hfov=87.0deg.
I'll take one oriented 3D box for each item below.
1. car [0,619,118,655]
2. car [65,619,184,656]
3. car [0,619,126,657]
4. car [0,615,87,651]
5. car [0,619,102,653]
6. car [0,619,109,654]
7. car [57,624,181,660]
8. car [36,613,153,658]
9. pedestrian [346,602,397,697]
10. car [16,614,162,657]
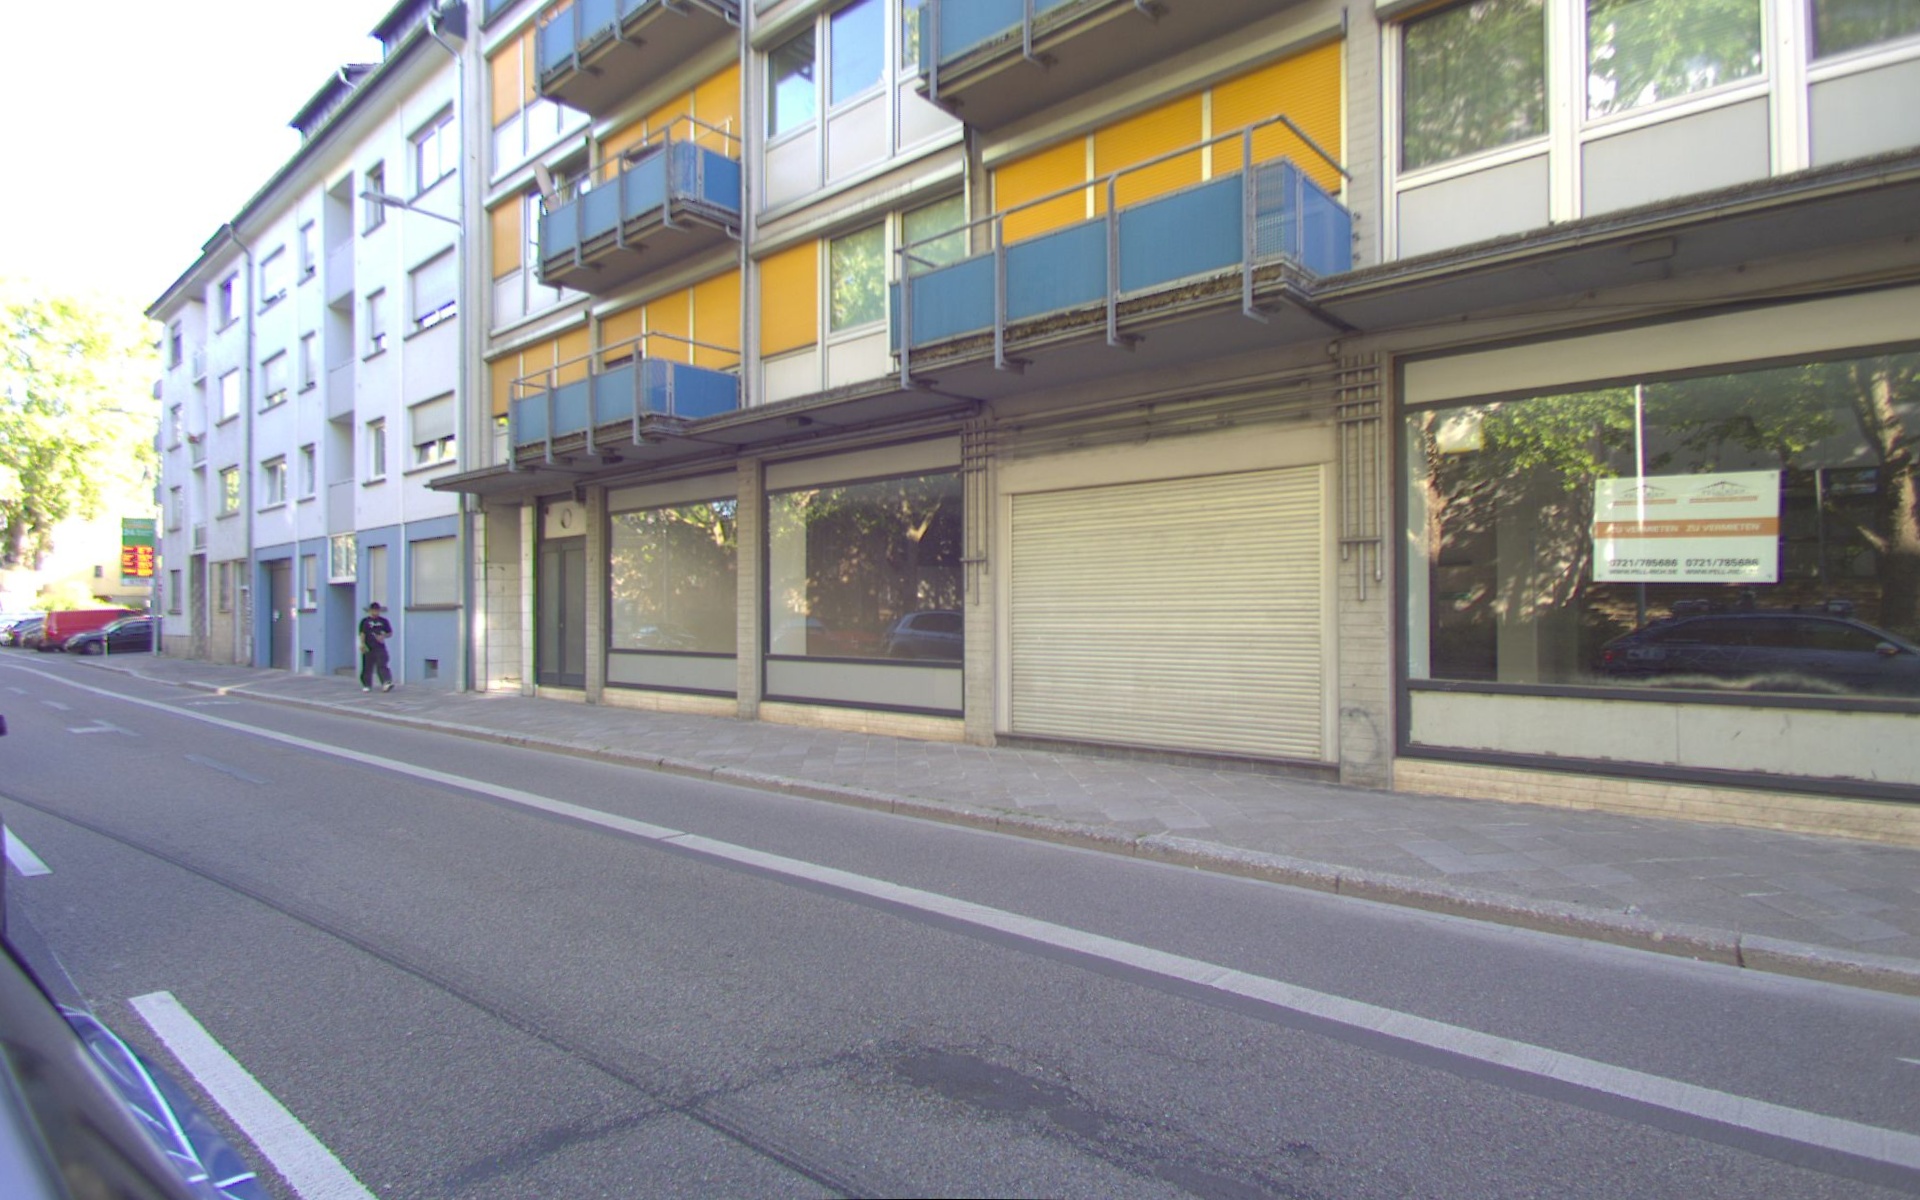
[{"bbox_3d":[-52.245,2.107,58.719,2.159,1.952,4.990,-1,-1,41],"label":"car"},{"bbox_3d":[-37.884,1.676,45.944,1.742,1.572,3.946,-1,-1,41],"label":"car"},{"bbox_3d":[-50.306,2.084,56.831,2.186,1.952,5.077,-1,-1,41],"label":"car"},{"bbox_3d":[-59.353,2.095,64.713,2.186,2.164,5.077,-1,-1,41],"label":"car"},{"bbox_3d":[-55.979,2.156,61.987,2.314,1.952,4.978,-1,-1,41],"label":"car"},{"bbox_3d":[-54.131,2.128,60.356,2.082,1.952,4.928,-1,-1,41],"label":"car"},{"bbox_3d":[-36.559,1.786,44.079,1.742,1.431,3.946,-1,-1,41],"label":"car"},{"bbox_3d":[-40.597,1.632,47.518,1.866,1.952,3.946,-1,-1,41],"label":"car"},{"bbox_3d":[-11.350,0.936,19.528,0.793,1.785,0.654,-2,-1,45],"label":"pedestrian"},{"bbox_3d":[-42.698,1.699,49.716,2.256,1.995,5.156,-1,-1,41],"label":"car"}]
